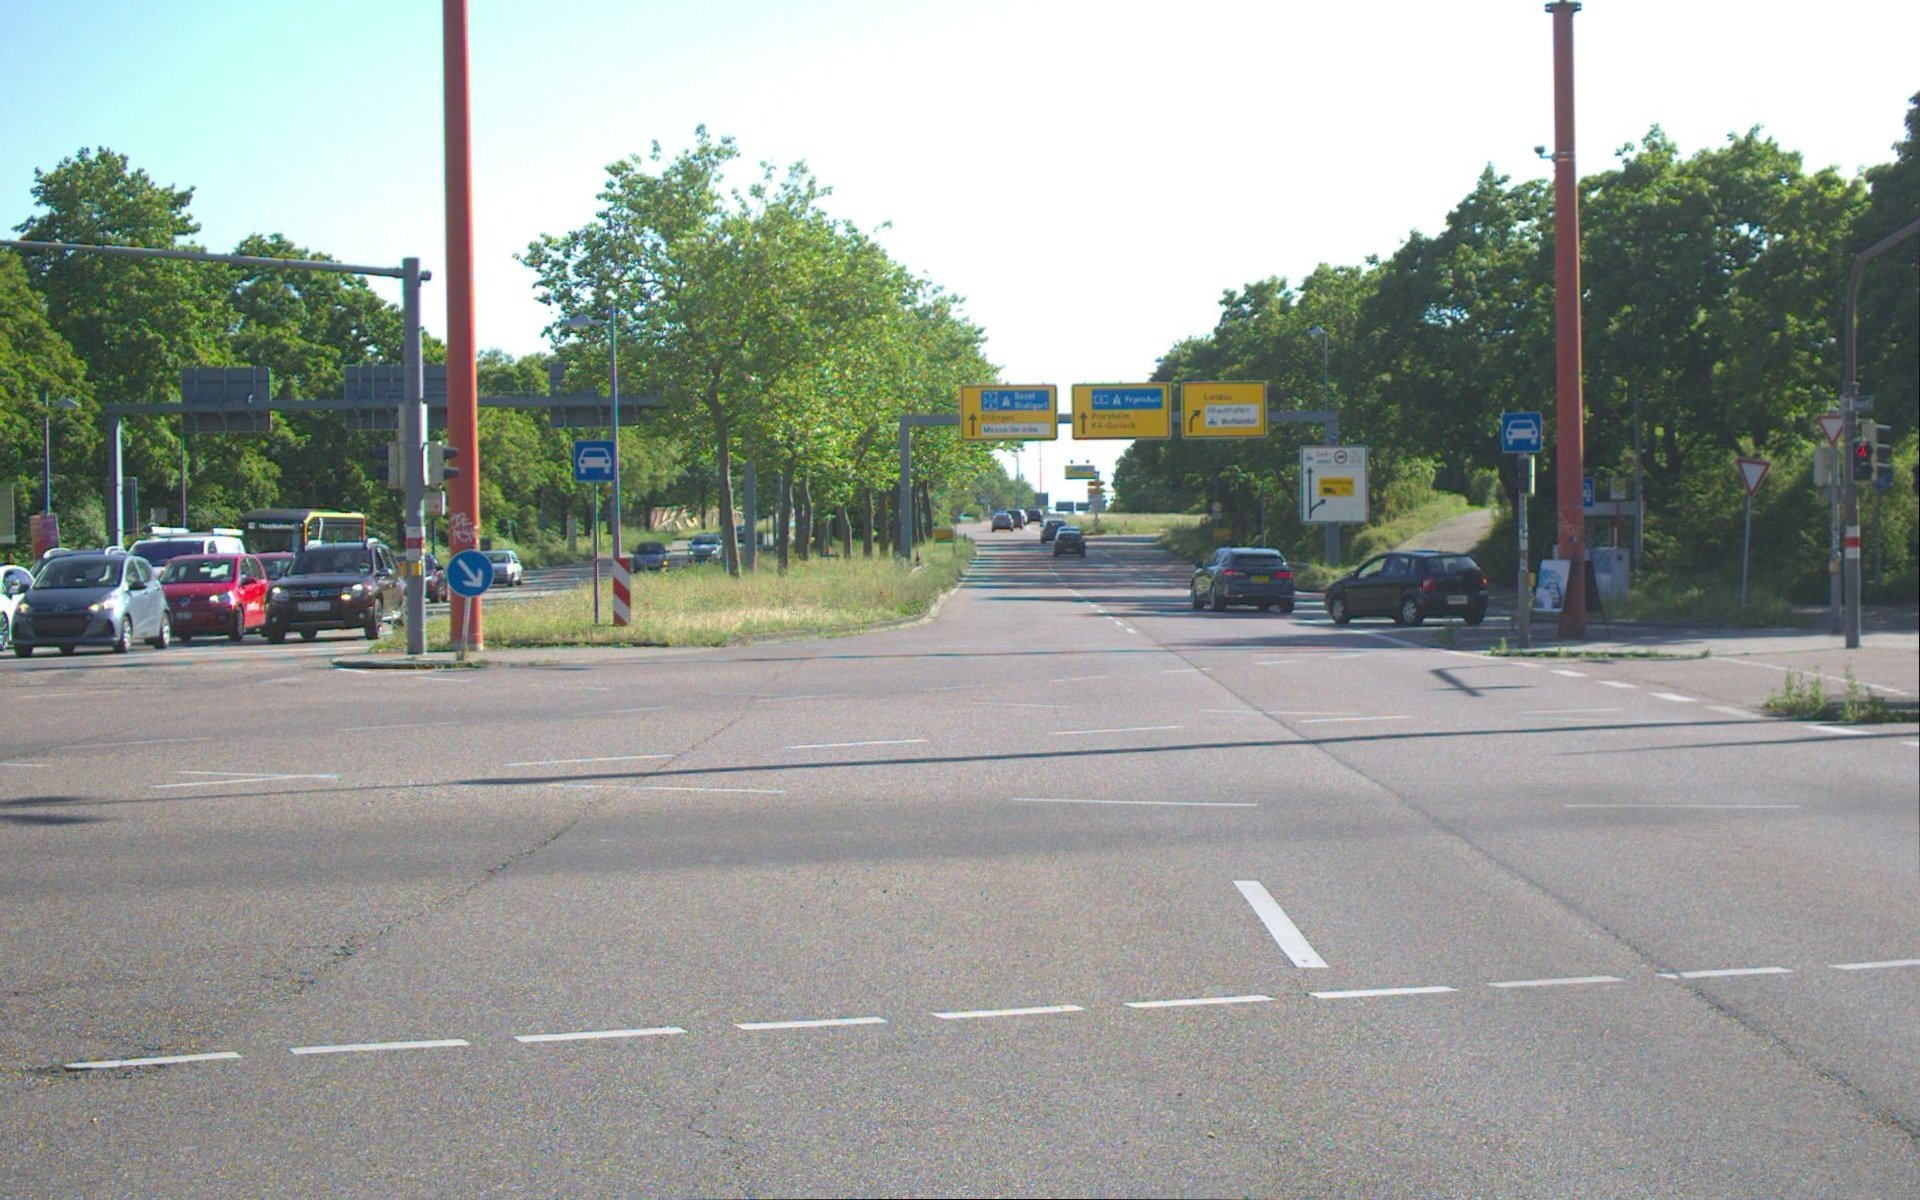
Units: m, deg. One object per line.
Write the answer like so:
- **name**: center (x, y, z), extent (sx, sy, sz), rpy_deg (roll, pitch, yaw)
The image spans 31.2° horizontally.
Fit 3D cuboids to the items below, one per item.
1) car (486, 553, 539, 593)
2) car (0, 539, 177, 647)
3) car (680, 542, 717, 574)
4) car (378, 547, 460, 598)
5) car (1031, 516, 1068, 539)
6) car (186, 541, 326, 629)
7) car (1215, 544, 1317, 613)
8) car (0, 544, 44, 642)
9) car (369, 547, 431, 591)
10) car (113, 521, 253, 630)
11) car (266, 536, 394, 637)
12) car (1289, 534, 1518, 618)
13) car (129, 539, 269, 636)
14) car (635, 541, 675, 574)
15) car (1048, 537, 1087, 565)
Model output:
- **car**: center (-17.851, -1.094, 137.205), extent (1.876, 1.568, 3.948), rpy_deg (-1, 1, -5)
- **car**: center (-13.253, -0.135, 52.172), extent (1.993, 1.568, 4.121), rpy_deg (-1, 1, -3)
- **car**: center (-14.512, -2.330, 191.259), extent (1.898, 1.764, 3.850), rpy_deg (-1, 1, -2)
- **car**: center (-15.849, -0.826, 100.825), extent (1.821, 1.449, 3.656), rpy_deg (-1, 1, 0)
- **car**: center (6.261, -5.053, 240.316), extent (2.158, 1.568, 4.281), rpy_deg (-1, 1, -4)
- **car**: center (-13.116, -0.300, 64.252), extent (1.993, 1.568, 4.121), rpy_deg (-1, 1, -4)
- **car**: center (7.231, -0.537, 81.726), extent (2.159, 1.568, 4.583), rpy_deg (-1, 1, 2)
- **car**: center (-16.489, -0.121, 57.041), extent (1.993, 1.568, 4.122), rpy_deg (-2, 1, -8)
- **car**: center (-20.326, -1.136, 124.925), extent (1.876, 1.568, 4.121), rpy_deg (-1, 1, -5)
- **car**: center (-16.114, -0.532, 71.514), extent (2.062, 2.185, 4.379), rpy_deg (-1, 1, -2)
- **car**: center (-10.248, -0.248, 56.153), extent (1.876, 1.568, 4.122), rpy_deg (-1, 1, -8)
- **car**: center (8.672, -0.488, 67.539), extent (2.159, 1.568, 4.280), rpy_deg (-1, 1, -34)
- **car**: center (-12.899, -0.239, 58.473), extent (1.993, 1.568, 4.122), rpy_deg (-1, 1, -8)
- **car**: center (-14.528, -2.030, 163.750), extent (1.876, 1.568, 4.121), rpy_deg (-1, 1, -5)
- **car**: center (6.098, -2.799, 195.614), extent (2.159, 1.568, 4.281), rpy_deg (-1, 1, 1)
